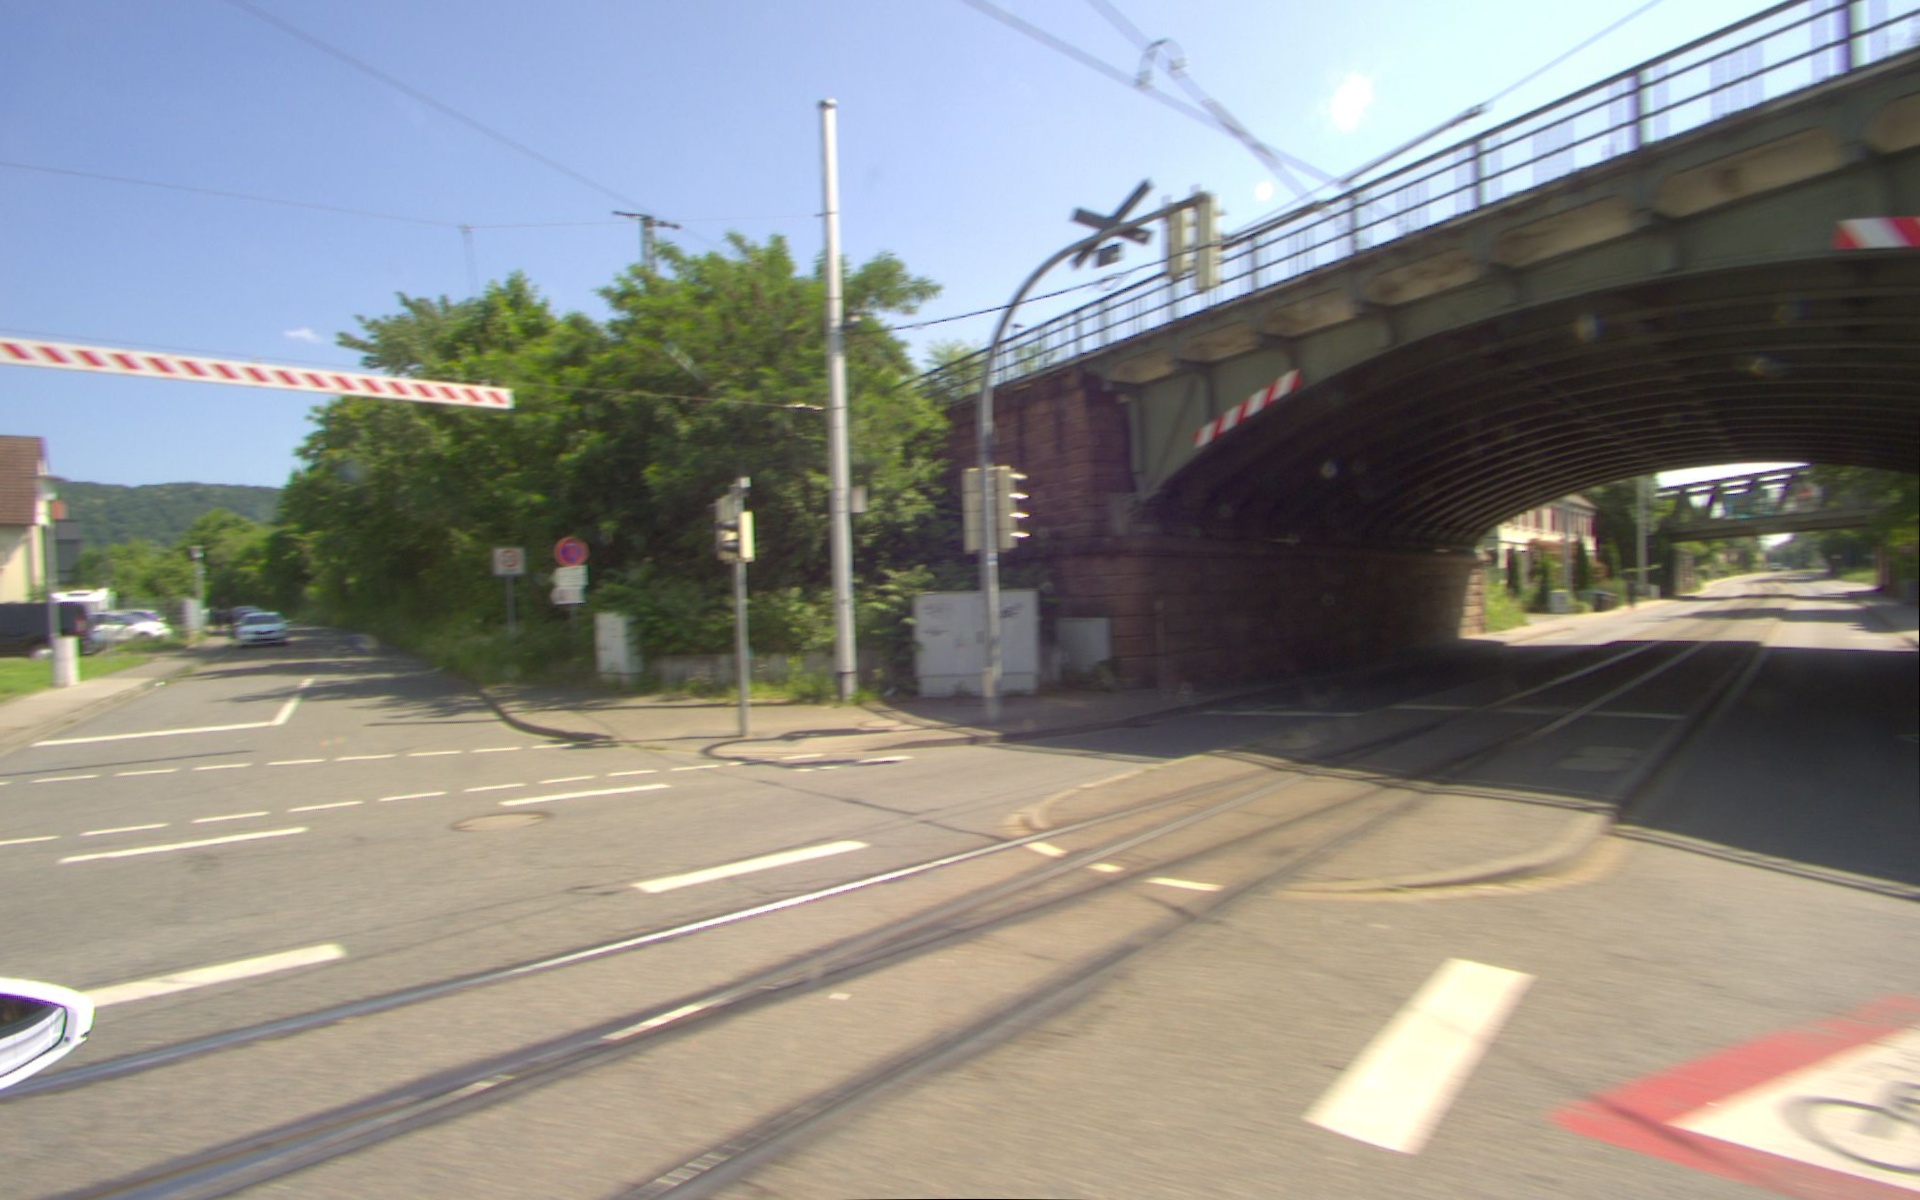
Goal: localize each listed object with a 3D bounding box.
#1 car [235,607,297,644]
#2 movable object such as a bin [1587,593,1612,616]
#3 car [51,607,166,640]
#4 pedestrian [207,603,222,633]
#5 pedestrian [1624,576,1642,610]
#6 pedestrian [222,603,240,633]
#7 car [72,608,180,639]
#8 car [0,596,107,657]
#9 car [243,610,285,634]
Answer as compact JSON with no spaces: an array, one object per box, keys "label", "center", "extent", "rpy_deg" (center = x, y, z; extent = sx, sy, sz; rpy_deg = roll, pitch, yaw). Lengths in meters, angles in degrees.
[{"label":"car","center":[-30.824,1.094,44.580],"extent":[2.065,1.530,4.511],"rpy_deg":[0,0,-33]},{"label":"movable object such as a bin","center":[34.209,0.230,53.557],"extent":[1.027,1.178,0.967],"rpy_deg":[-2,0,39]},{"label":"car","center":[-37.533,1.060,44.252],"extent":[3.682,1.389,1.596],"rpy_deg":[1,-2,-32]},{"label":"pedestrian","center":[-44.624,1.078,59.949],"extent":[0.647,1.785,0.799],"rpy_deg":[0,-2,-34]},{"label":"pedestrian","center":[37.756,-0.396,56.196],"extent":[0.733,1.841,0.845],"rpy_deg":[-1,1,39]},{"label":"pedestrian","center":[-43.952,1.084,60.392],"extent":[0.867,1.785,0.726],"rpy_deg":[0,-2,-34]},{"label":"car","center":[-38.763,1.088,46.657],"extent":[3.682,1.389,1.595],"rpy_deg":[1,-2,-32]},{"label":"car","center":[-30.754,0.897,31.905],"extent":[5.196,1.840,1.987],"rpy_deg":[-2,0,-35]},{"label":"car","center":[-43.194,1.319,62.207],"extent":[1.891,1.418,3.711],"rpy_deg":[0,0,-32]}]
